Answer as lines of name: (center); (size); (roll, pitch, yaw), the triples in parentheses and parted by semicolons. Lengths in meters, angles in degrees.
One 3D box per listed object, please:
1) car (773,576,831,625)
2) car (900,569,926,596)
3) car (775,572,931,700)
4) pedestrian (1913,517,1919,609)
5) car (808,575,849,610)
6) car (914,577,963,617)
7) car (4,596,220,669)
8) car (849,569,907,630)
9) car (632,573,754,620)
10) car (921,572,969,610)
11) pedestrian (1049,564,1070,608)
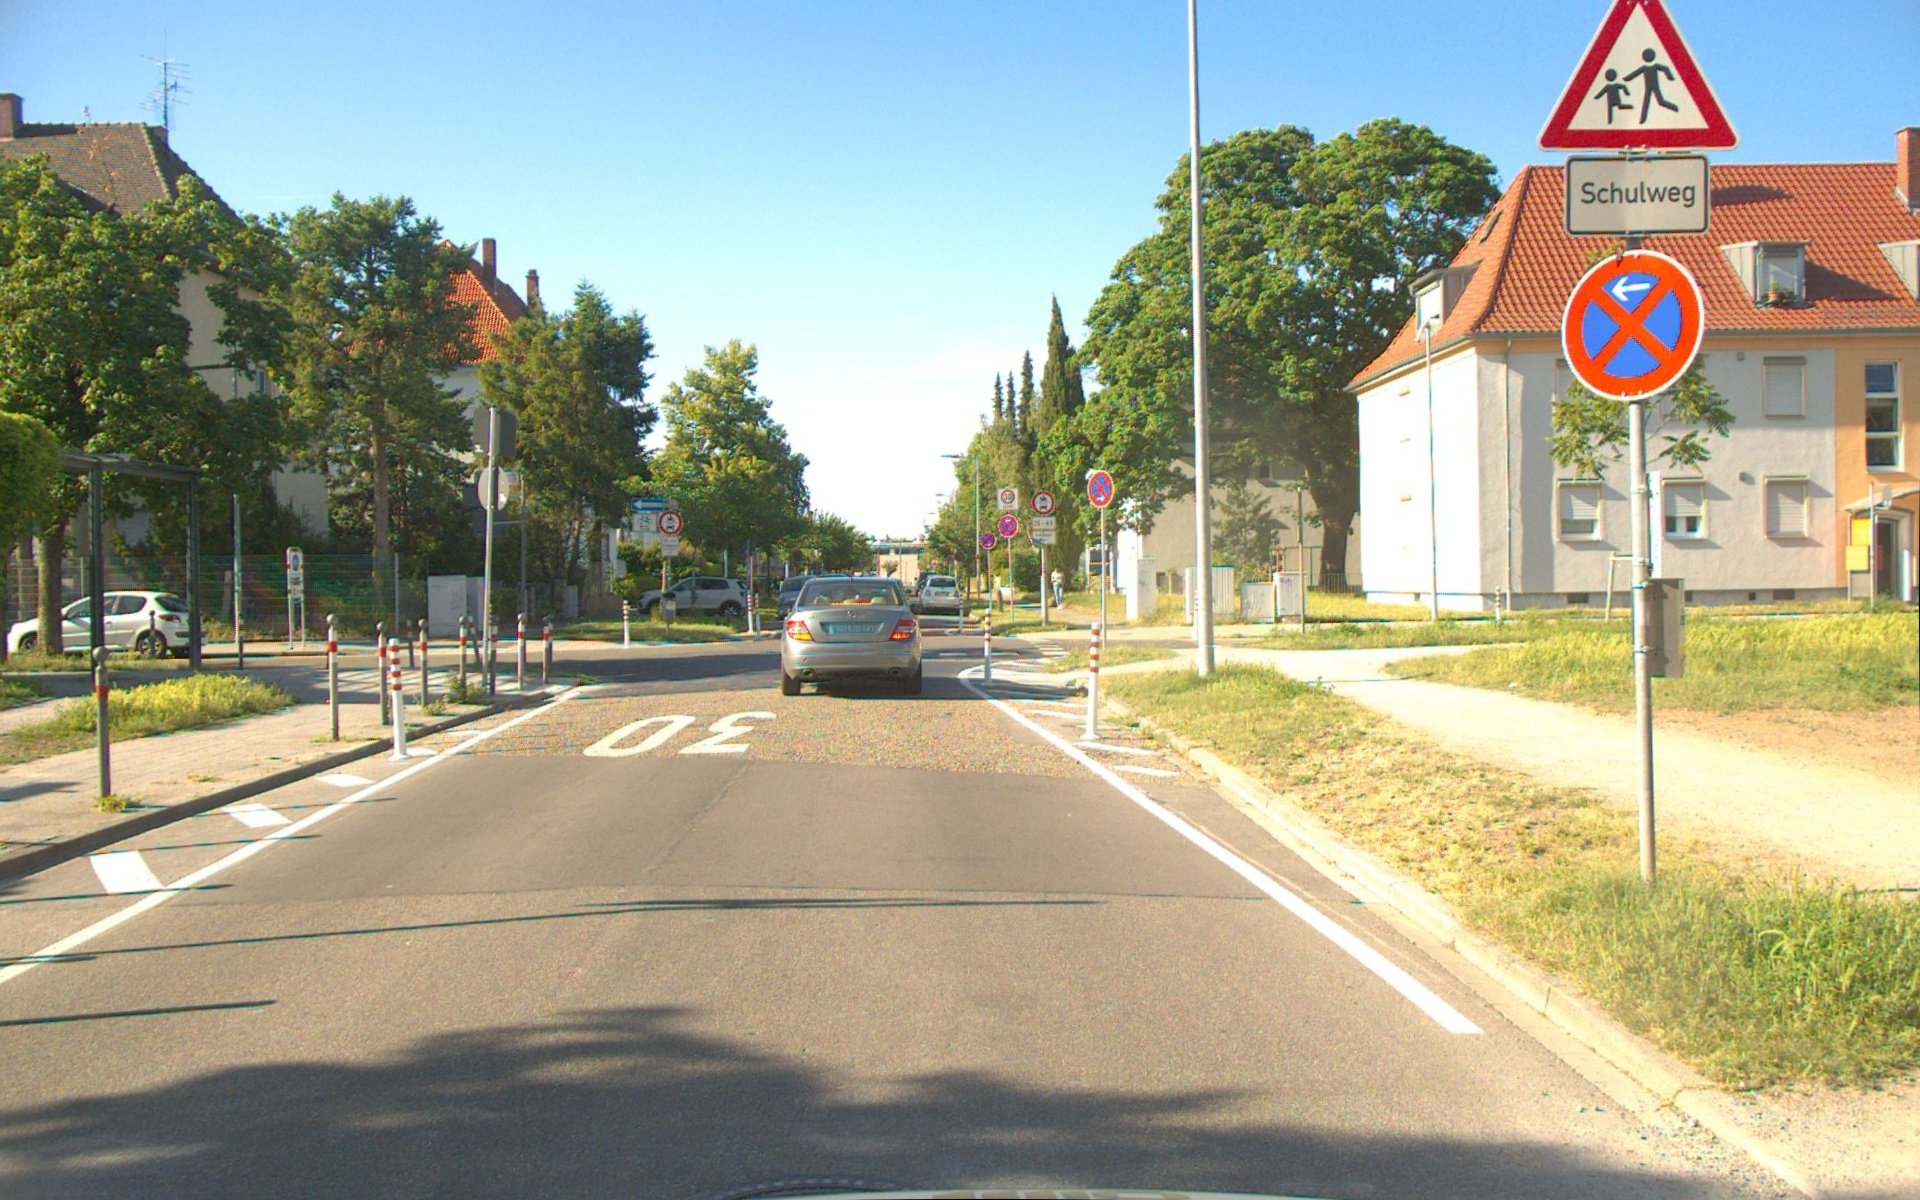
car: (-6.012, -0.013, 63.351); (1.955, 1.637, 3.997); (-5, 1, -4)
car: (-3.467, -1.289, 121.665); (1.818, 1.873, 3.998); (-1, 1, -3)
car: (-1.278, 0.394, 21.240); (1.799, 1.466, 3.999); (0, 1, -1)
pedestrian: (3.324, 0.563, 4.282); (1.071, 1.702, 0.909); (-6, 2, -19)
car: (-6.875, -0.395, 86.751); (1.955, 1.637, 3.997); (-5, 1, -4)
car: (-0.874, -0.137, 65.882); (1.699, 1.505, 3.722); (-1, 1, -4)
car: (-18.057, 0.687, 35.346); (3.688, 1.423, 1.706); (-2, 0, -2)
car: (-2.366, -0.045, 47.101); (1.565, 1.637, 3.641); (-1, 1, -4)
car: (-9.332, -0.126, 58.056); (4.110, 1.591, 1.840); (-1, 1, -5)
car: (-0.724, -0.430, 76.698); (1.954, 1.638, 3.997); (-1, 1, -4)
pedestrian: (3.785, -0.535, 62.872); (0.750, 1.639, 0.834); (-1, 1, 3)
